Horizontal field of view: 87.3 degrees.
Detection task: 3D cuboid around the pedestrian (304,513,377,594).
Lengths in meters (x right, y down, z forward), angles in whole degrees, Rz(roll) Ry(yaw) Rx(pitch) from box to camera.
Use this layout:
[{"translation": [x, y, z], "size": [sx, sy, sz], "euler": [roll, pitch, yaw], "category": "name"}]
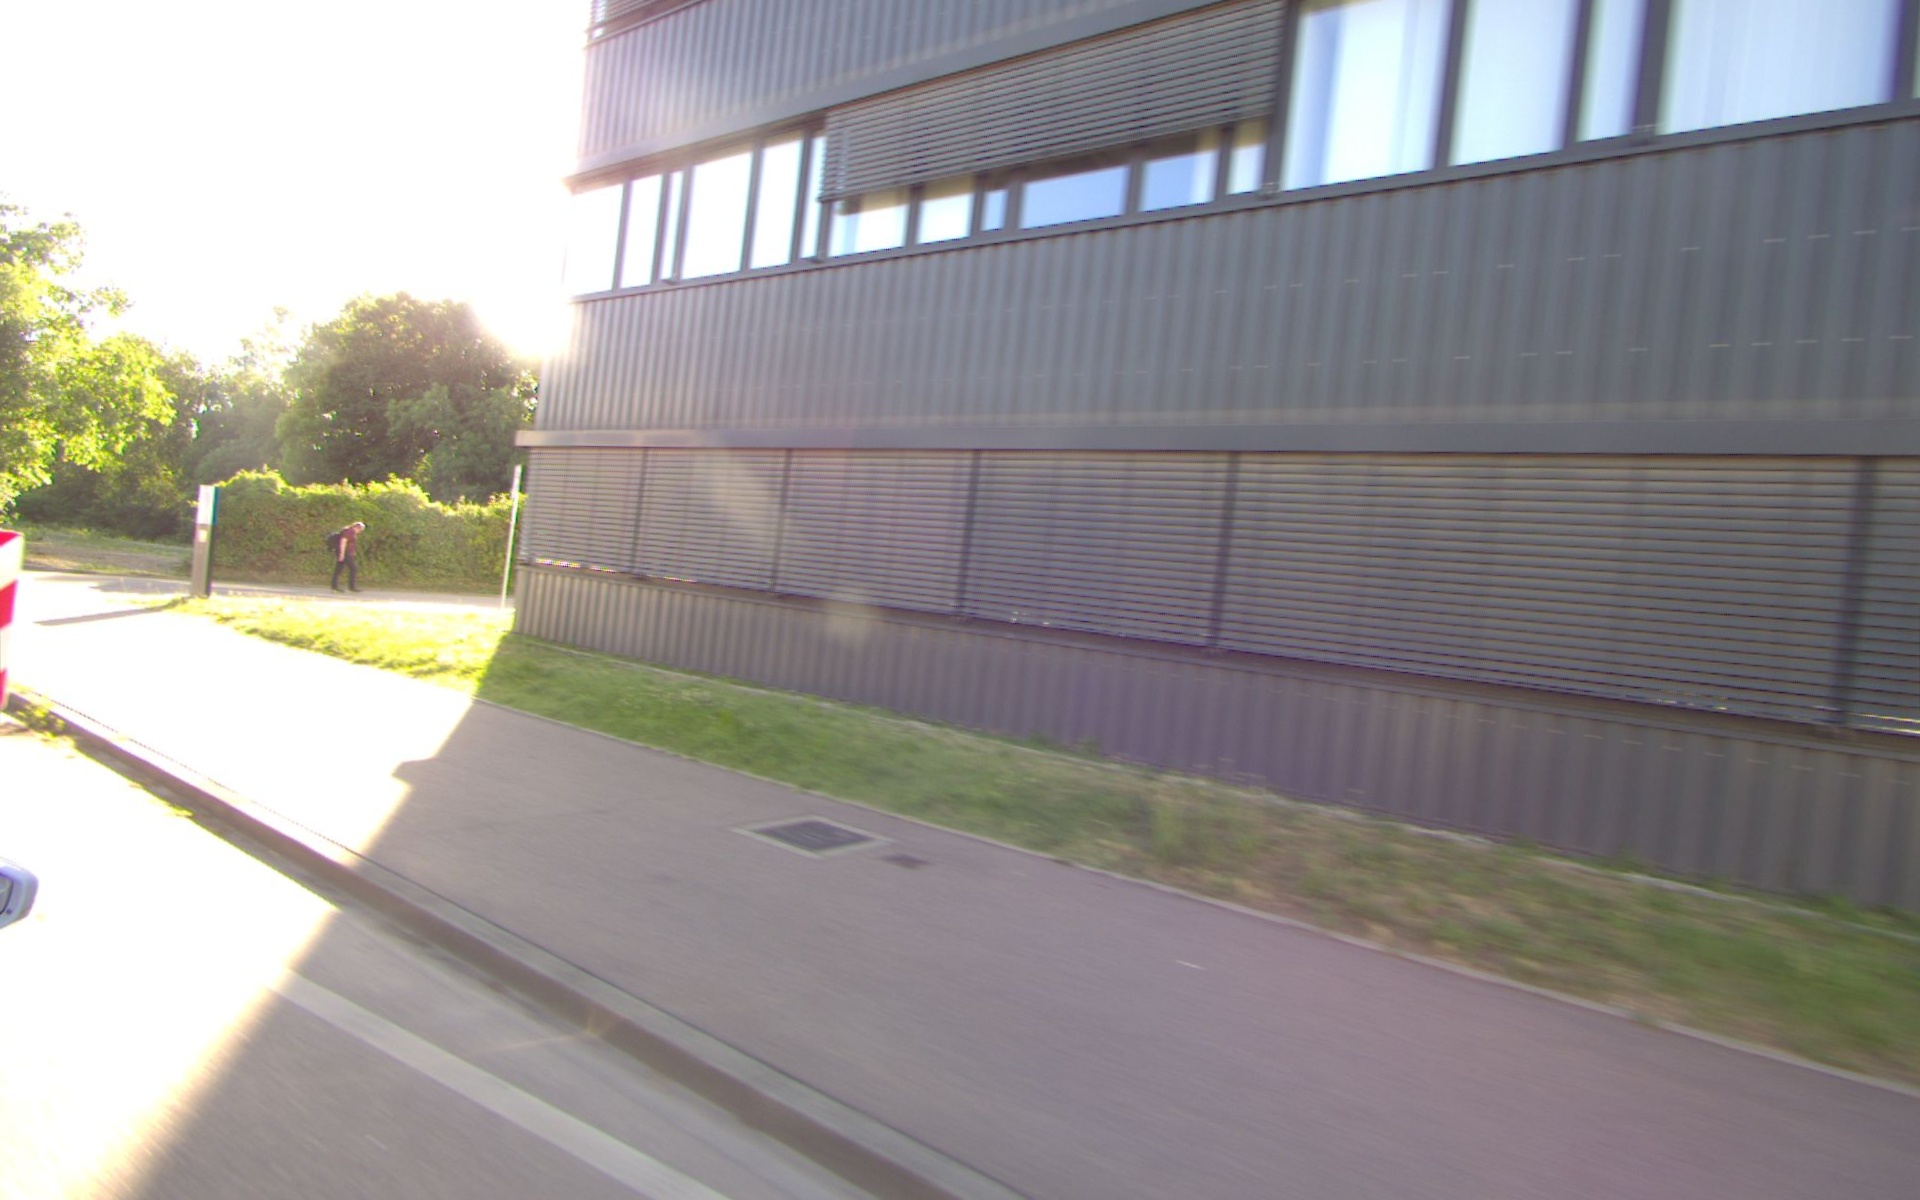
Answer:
[{"translation": [-14.909, -1.100, 24.236], "size": [0.881, 1.816, 1.152], "euler": [7, 3, 31], "category": "pedestrian"}]
